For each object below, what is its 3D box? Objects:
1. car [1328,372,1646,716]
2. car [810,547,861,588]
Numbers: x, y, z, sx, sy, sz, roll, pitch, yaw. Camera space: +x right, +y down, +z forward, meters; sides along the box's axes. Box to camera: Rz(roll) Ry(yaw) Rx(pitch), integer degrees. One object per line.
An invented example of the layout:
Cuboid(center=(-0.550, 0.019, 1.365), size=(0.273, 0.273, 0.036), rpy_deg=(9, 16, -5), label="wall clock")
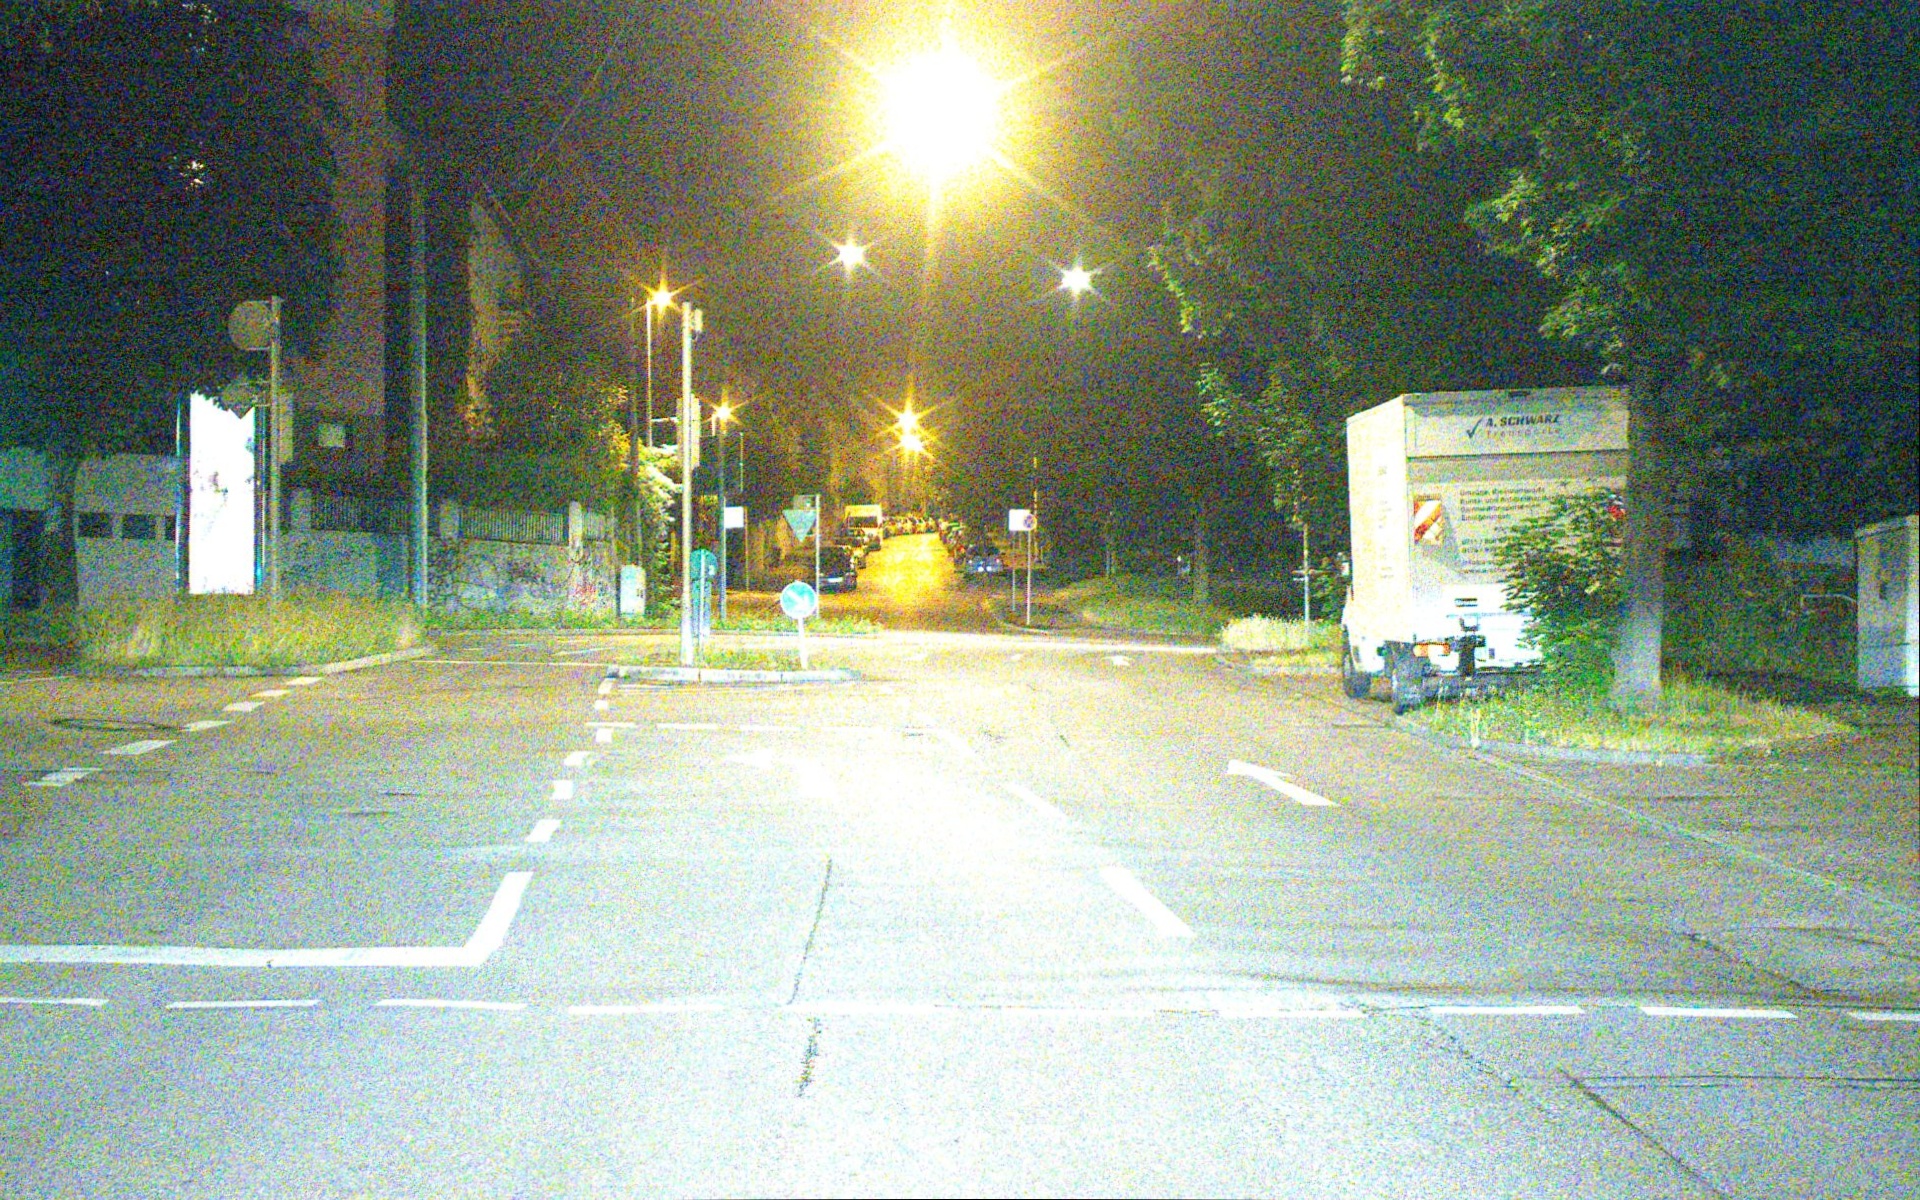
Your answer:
Cuboid(center=(5.115, -0.544, 34.237), size=(2.297, 3.082, 5.840), rpy_deg=(-1, 1, 1), label="car")
Cuboid(center=(-4.852, -1.288, 134.360), size=(1.908, 1.552, 3.904), rpy_deg=(1, 1, -1), label="car")
